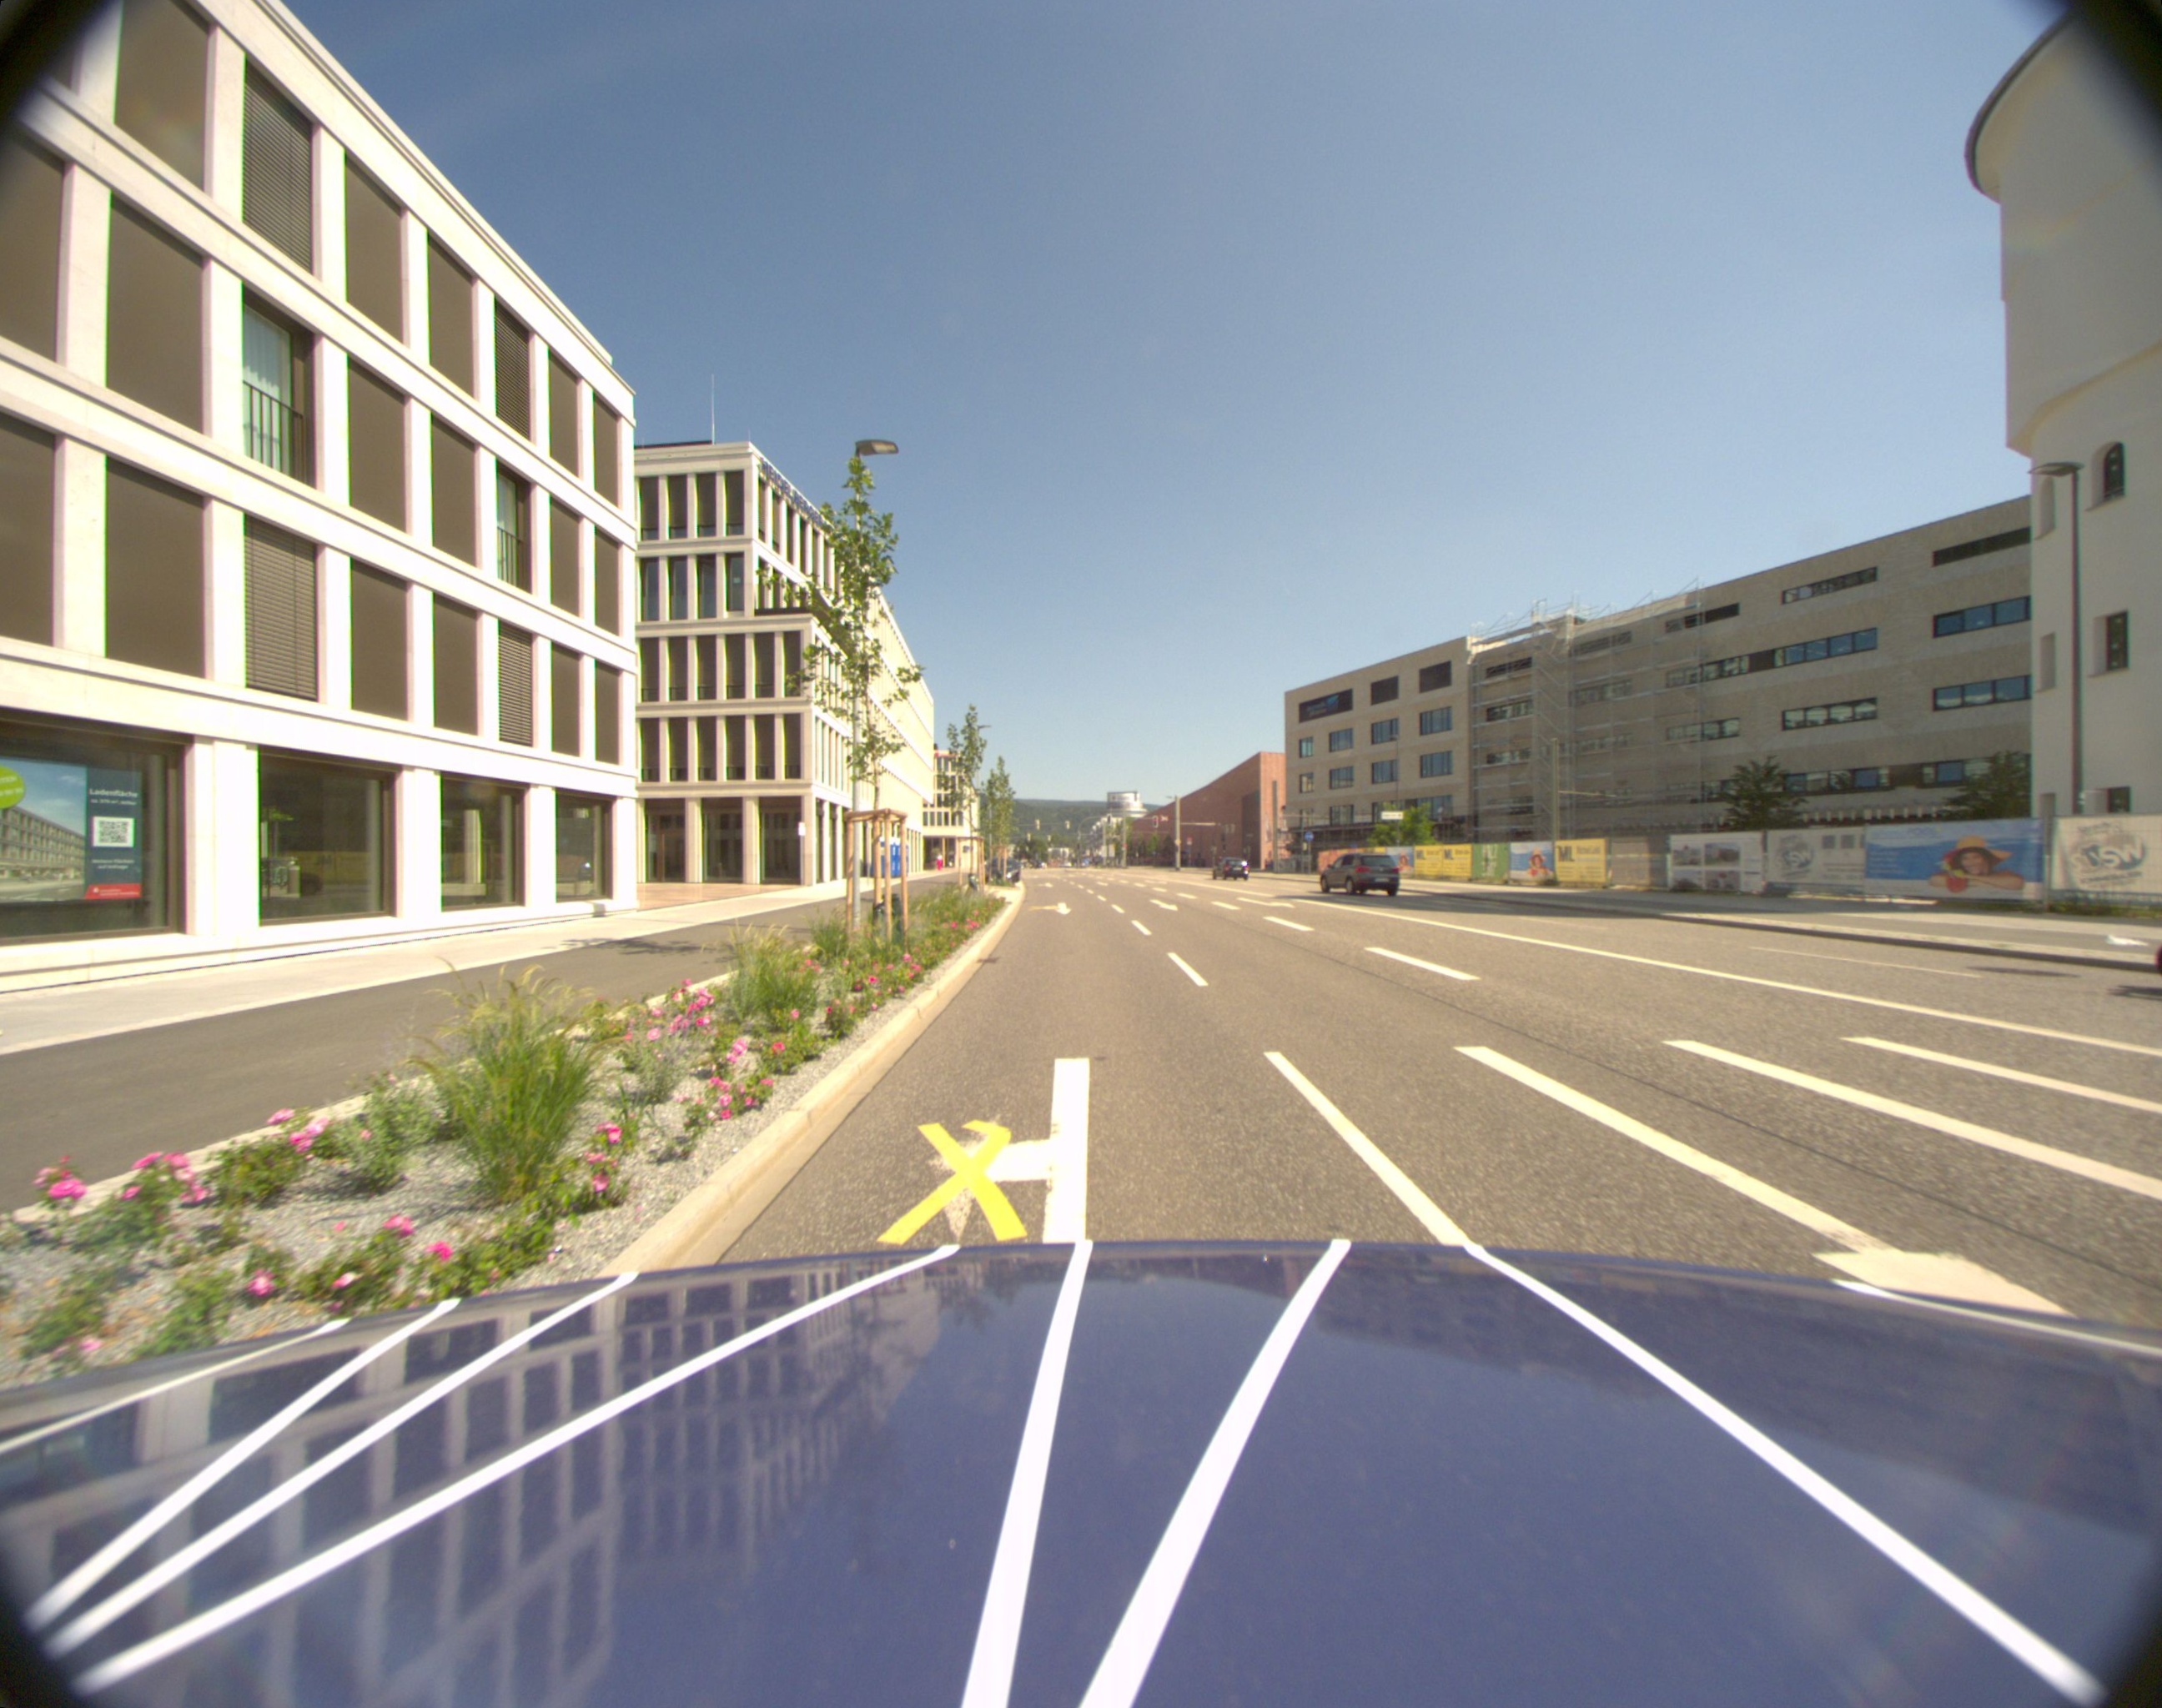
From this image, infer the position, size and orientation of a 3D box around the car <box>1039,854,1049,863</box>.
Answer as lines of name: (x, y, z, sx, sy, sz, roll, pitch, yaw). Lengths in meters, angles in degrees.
car: (-6.455, 0.714, 132.575, 1.783, 1.552, 3.831, -1, 0, -3)

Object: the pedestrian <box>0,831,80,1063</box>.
pedestrian: (-8.256, 0.685, 5.524, 0.578, 1.710, 0.997, 0, 1, 0)

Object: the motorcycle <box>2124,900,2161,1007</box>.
motorcycle: (11.525, 1.065, 7.074, 0.585, 1.098, 2.215, 2, 1, 2)

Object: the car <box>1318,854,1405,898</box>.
car: (10.916, 0.803, 29.827, 1.802, 1.581, 3.970, 1, 0, -2)

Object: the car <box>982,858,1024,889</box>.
car: (-4.030, 0.986, 39.776, 1.810, 1.499, 4.000, 0, 0, 0)

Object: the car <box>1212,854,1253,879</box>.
car: (9.840, 0.781, 49.618, 1.934, 1.603, 4.000, 0, 0, 0)
